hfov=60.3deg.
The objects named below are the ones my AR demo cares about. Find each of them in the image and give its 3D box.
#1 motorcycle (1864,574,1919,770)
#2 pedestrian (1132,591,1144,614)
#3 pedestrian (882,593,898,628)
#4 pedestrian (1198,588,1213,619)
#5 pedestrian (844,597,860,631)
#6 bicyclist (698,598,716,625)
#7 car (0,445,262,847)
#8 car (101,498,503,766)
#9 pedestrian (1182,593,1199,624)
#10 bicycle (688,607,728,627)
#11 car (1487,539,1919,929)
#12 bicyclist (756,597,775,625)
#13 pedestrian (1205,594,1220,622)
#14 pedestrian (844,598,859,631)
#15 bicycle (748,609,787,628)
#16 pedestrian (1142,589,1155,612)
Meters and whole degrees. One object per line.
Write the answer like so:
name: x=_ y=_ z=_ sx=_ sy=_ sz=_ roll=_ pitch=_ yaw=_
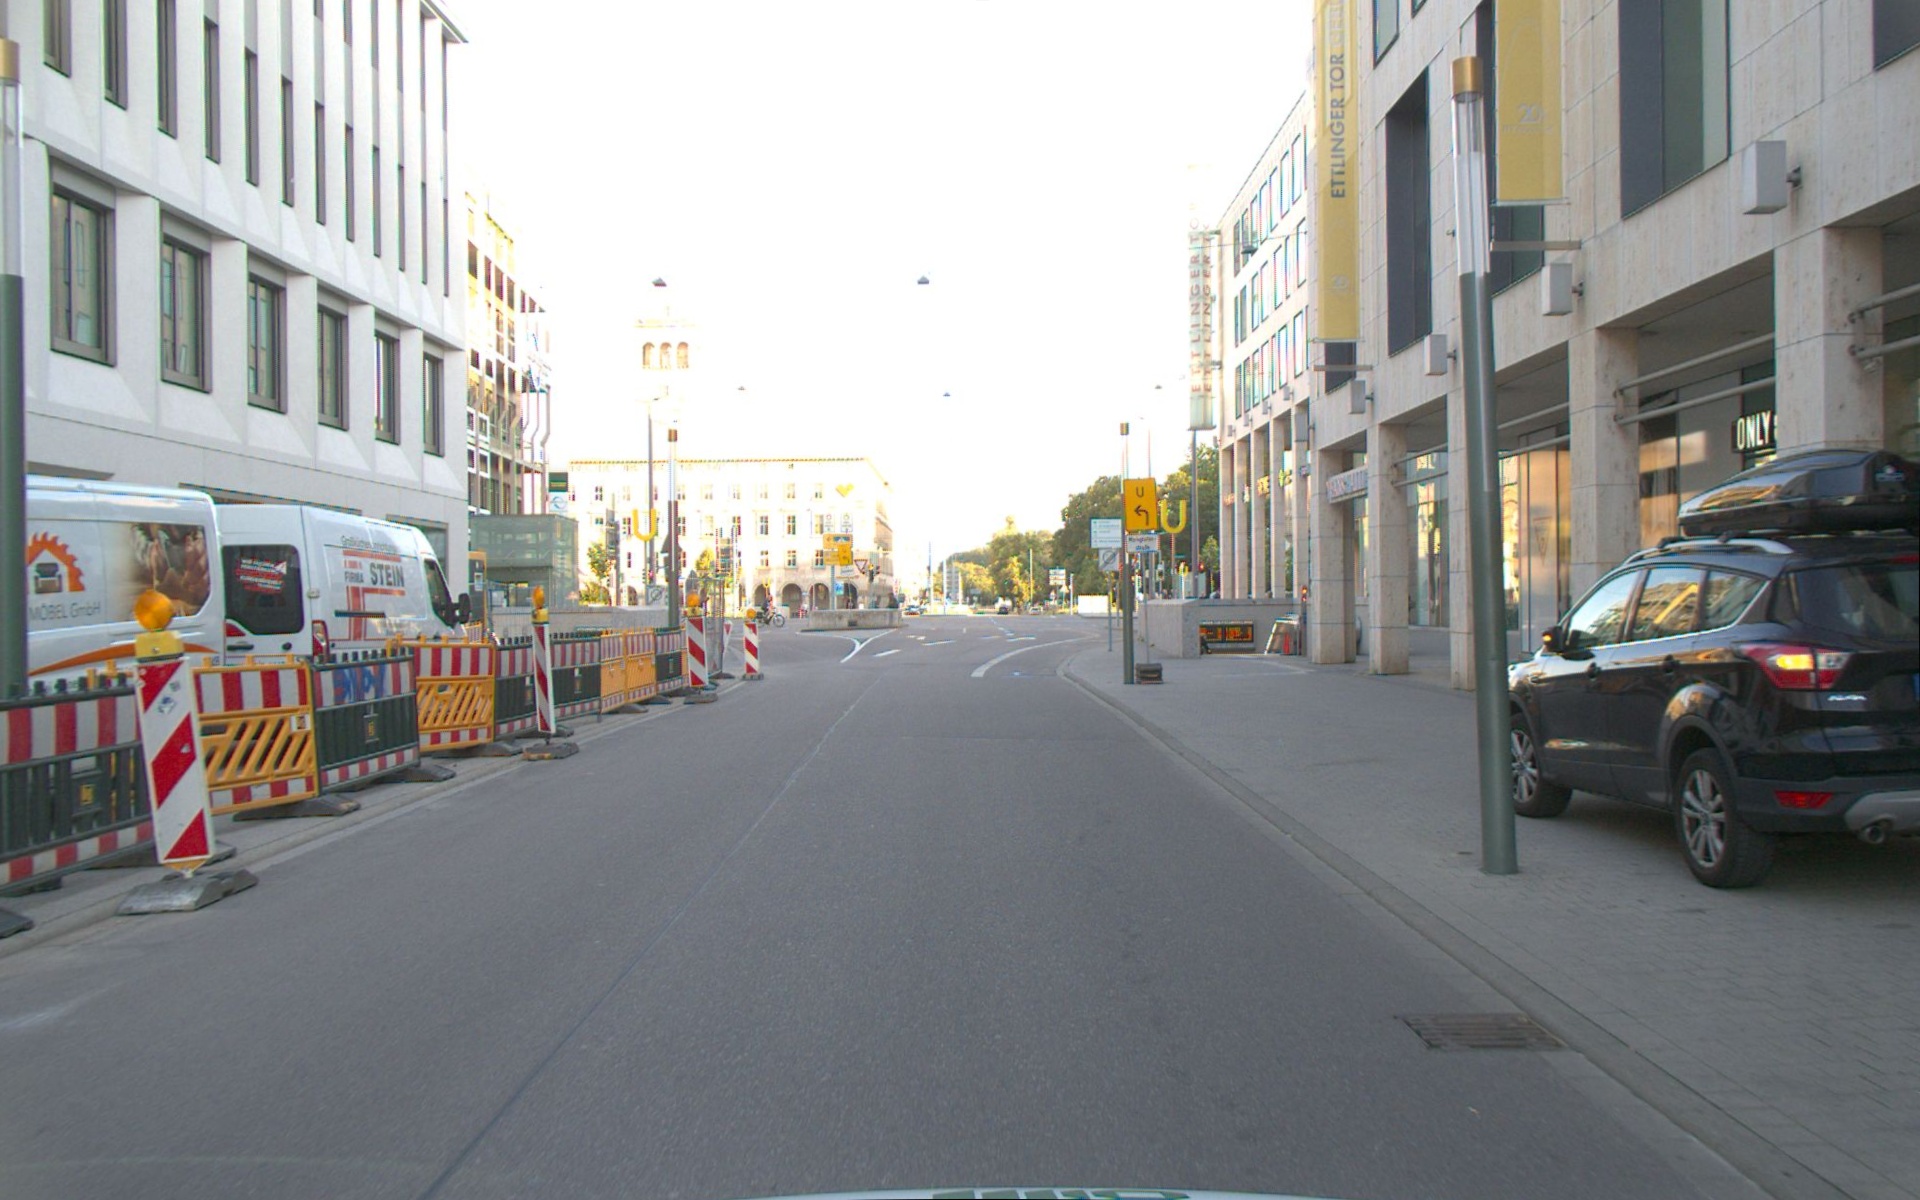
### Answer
motorcycle: x=7.368 y=0.525 z=11.840 sx=0.678 sy=1.441 sz=2.136 roll=-1 pitch=0 yaw=2
pedestrian: x=13.466 y=0.204 z=124.991 sx=0.792 sy=1.760 sz=0.688 roll=-1 pitch=0 yaw=-1
pedestrian: x=-3.714 y=0.534 z=87.672 sx=0.724 sy=1.808 sz=0.862 roll=-2 pitch=0 yaw=-7
pedestrian: x=14.601 y=0.205 z=98.372 sx=0.740 sy=1.808 sz=0.741 roll=-3 pitch=0 yaw=1
pedestrian: x=-5.859 y=0.773 z=89.876 sx=0.723 sy=1.808 sz=0.863 roll=-3 pitch=0 yaw=0
bicyclist: x=-14.642 y=0.644 z=95.675 sx=0.861 sy=1.557 sz=0.654 roll=-1 pitch=0 yaw=2
car: x=-7.062 y=0.295 z=11.163 sx=2.129 sy=2.513 sz=5.999 roll=0 pitch=0 yaw=0
car: x=-7.040 y=0.297 z=18.616 sx=2.129 sy=2.513 sz=5.999 roll=0 pitch=0 yaw=0
pedestrian: x=13.823 y=0.513 z=99.050 sx=0.843 sy=1.808 sz=0.741 roll=-3 pitch=0 yaw=1
bicycle: x=-14.592 y=0.990 z=95.671 sx=2.195 sy=1.080 sz=0.654 roll=-1 pitch=0 yaw=2
car: x=4.504 y=0.553 z=9.271 sx=1.732 sy=1.666 sz=4.057 roll=-4 pitch=0 yaw=0
bicyclist: x=-11.383 y=0.637 z=96.615 sx=0.999 sy=1.649 sz=0.653 roll=-1 pitch=0 yaw=0
pedestrian: x=15.994 y=0.518 z=104.810 sx=0.818 sy=1.760 sz=0.688 roll=-1 pitch=0 yaw=14
pedestrian: x=-5.949 y=0.791 z=90.930 sx=0.723 sy=1.808 sz=0.863 roll=-3 pitch=0 yaw=-2
bicycle: x=-11.257 y=1.063 z=96.613 sx=2.196 sy=1.080 sz=0.653 roll=-1 pitch=0 yaw=0
pedestrian: x=14.337 y=0.048 z=125.631 sx=0.793 sy=1.760 sz=0.686 roll=-1 pitch=0 yaw=-9
